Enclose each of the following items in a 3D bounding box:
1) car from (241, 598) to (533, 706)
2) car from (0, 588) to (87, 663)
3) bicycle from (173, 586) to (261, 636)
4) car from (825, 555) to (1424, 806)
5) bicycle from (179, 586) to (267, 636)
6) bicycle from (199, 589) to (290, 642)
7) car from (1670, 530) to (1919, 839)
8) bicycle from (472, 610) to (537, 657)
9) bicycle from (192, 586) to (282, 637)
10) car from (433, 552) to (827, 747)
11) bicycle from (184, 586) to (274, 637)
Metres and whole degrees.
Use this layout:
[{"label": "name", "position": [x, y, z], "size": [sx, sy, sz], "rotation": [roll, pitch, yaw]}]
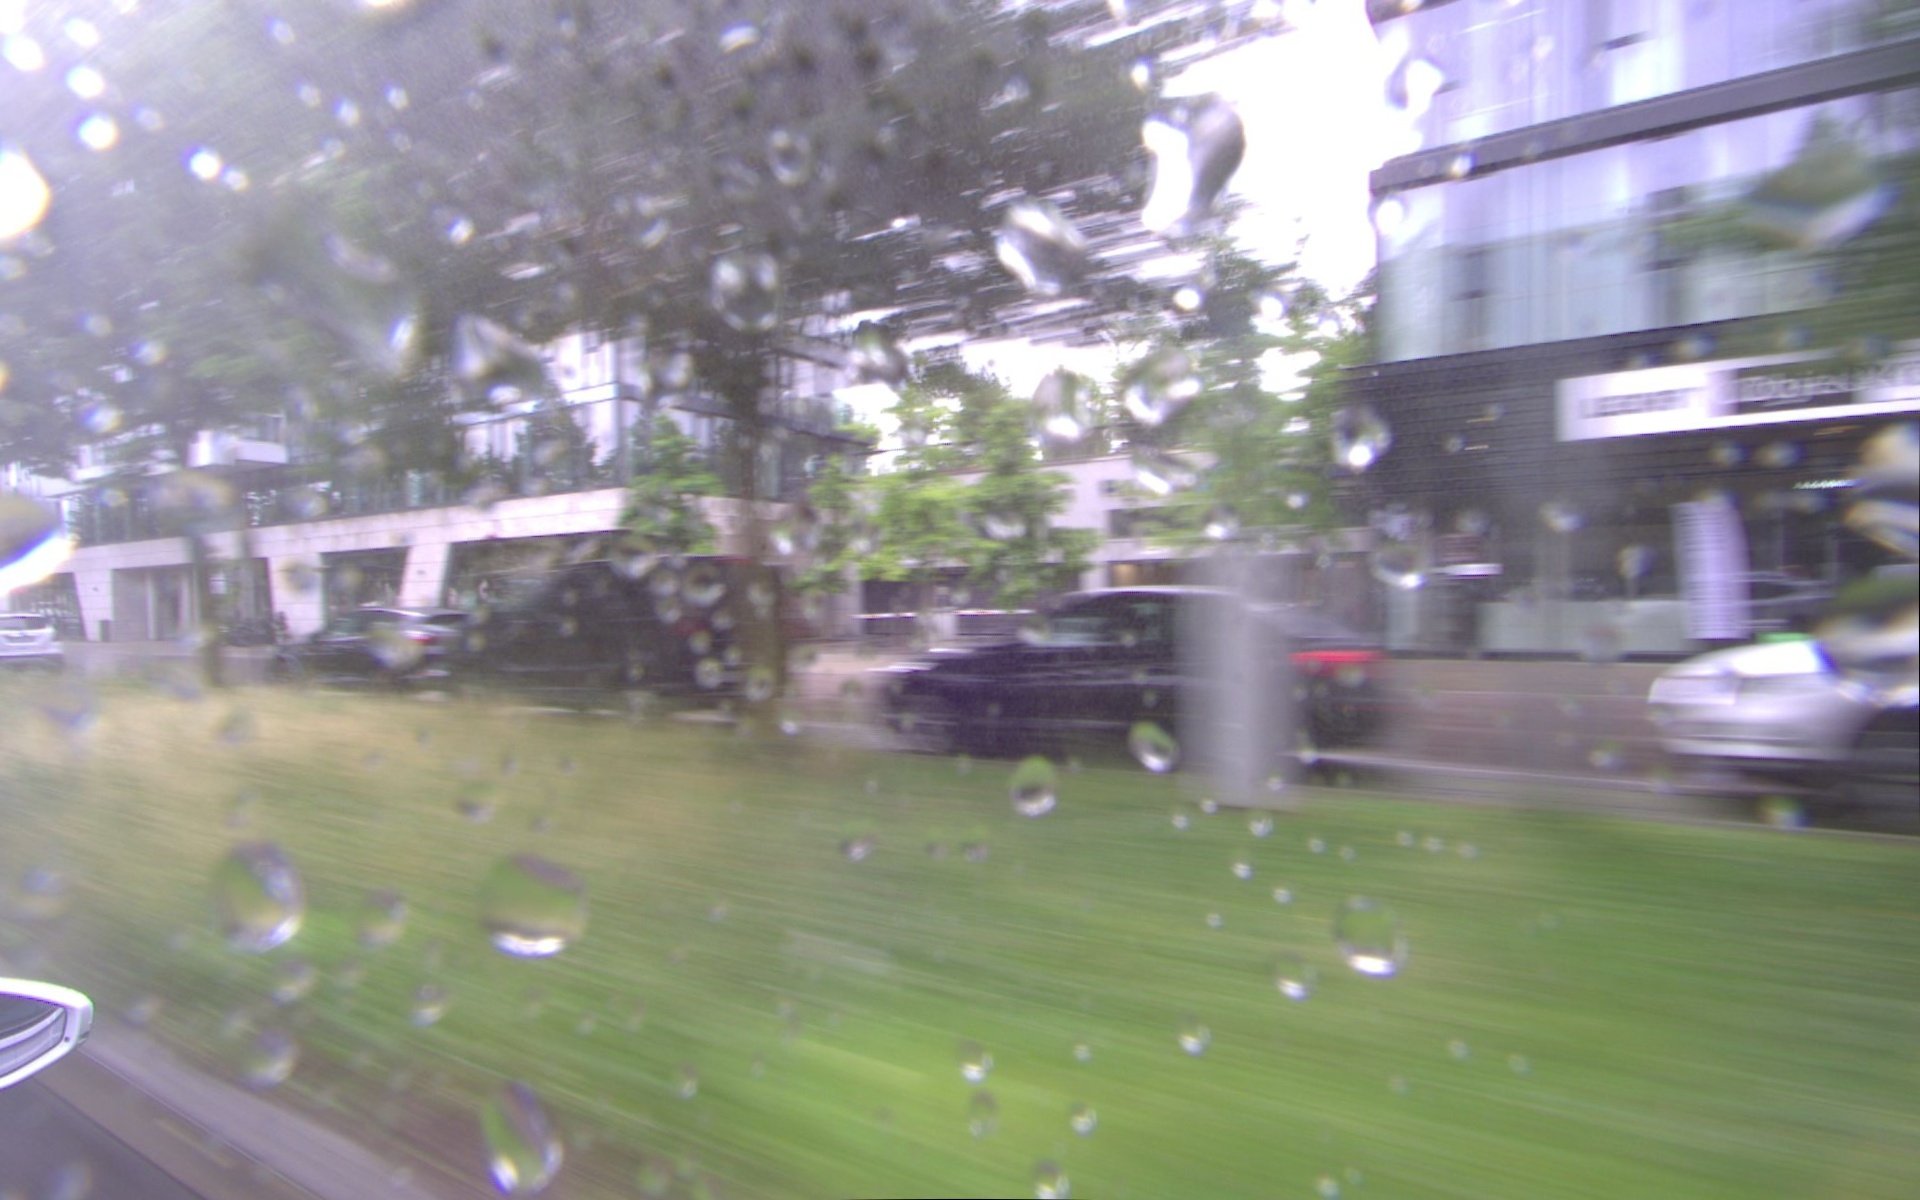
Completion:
[{"label": "car", "position": [-9.235, 0.763, 16.118], "size": [4.411, 1.533, 1.955], "rotation": [-1, 1, 26]}, {"label": "car", "position": [-24.528, 0.590, 25.701], "size": [4.655, 1.692, 1.989], "rotation": [2, 2, 33]}, {"label": "bicycle", "position": [-29.251, 0.412, 39.454], "size": [0.698, 1.886, 2.670], "rotation": [0, 1, 37]}, {"label": "car", "position": [1.309, 0.513, 8.896], "size": [4.887, 1.692, 1.989], "rotation": [1, 1, 33]}, {"label": "bicycle", "position": [-28.668, 0.409, 39.001], "size": [0.698, 1.886, 2.670], "rotation": [0, 1, 37]}, {"label": "bicycle", "position": [-26.834, 0.549, 37.601], "size": [0.698, 1.886, 2.670], "rotation": [0, 1, 37]}, {"label": "car", "position": [6.924, 0.479, 5.612], "size": [4.655, 1.691, 1.990], "rotation": [0, -1, 32]}, {"label": "bicycle", "position": [-11.502, 0.838, 25.270], "size": [2.036, 1.145, 0.516], "rotation": [0, 1, 35]}, {"label": "bicycle", "position": [-27.436, 0.415, 38.058], "size": [0.698, 1.886, 2.670], "rotation": [0, 1, 37]}, {"label": "car", "position": [-4.198, 0.438, 12.427], "size": [4.956, 1.979, 1.989], "rotation": [2, 2, 33]}, {"label": "bicycle", "position": [-28.066, 0.406, 38.502], "size": [0.698, 1.886, 2.670], "rotation": [0, 1, 37]}]
